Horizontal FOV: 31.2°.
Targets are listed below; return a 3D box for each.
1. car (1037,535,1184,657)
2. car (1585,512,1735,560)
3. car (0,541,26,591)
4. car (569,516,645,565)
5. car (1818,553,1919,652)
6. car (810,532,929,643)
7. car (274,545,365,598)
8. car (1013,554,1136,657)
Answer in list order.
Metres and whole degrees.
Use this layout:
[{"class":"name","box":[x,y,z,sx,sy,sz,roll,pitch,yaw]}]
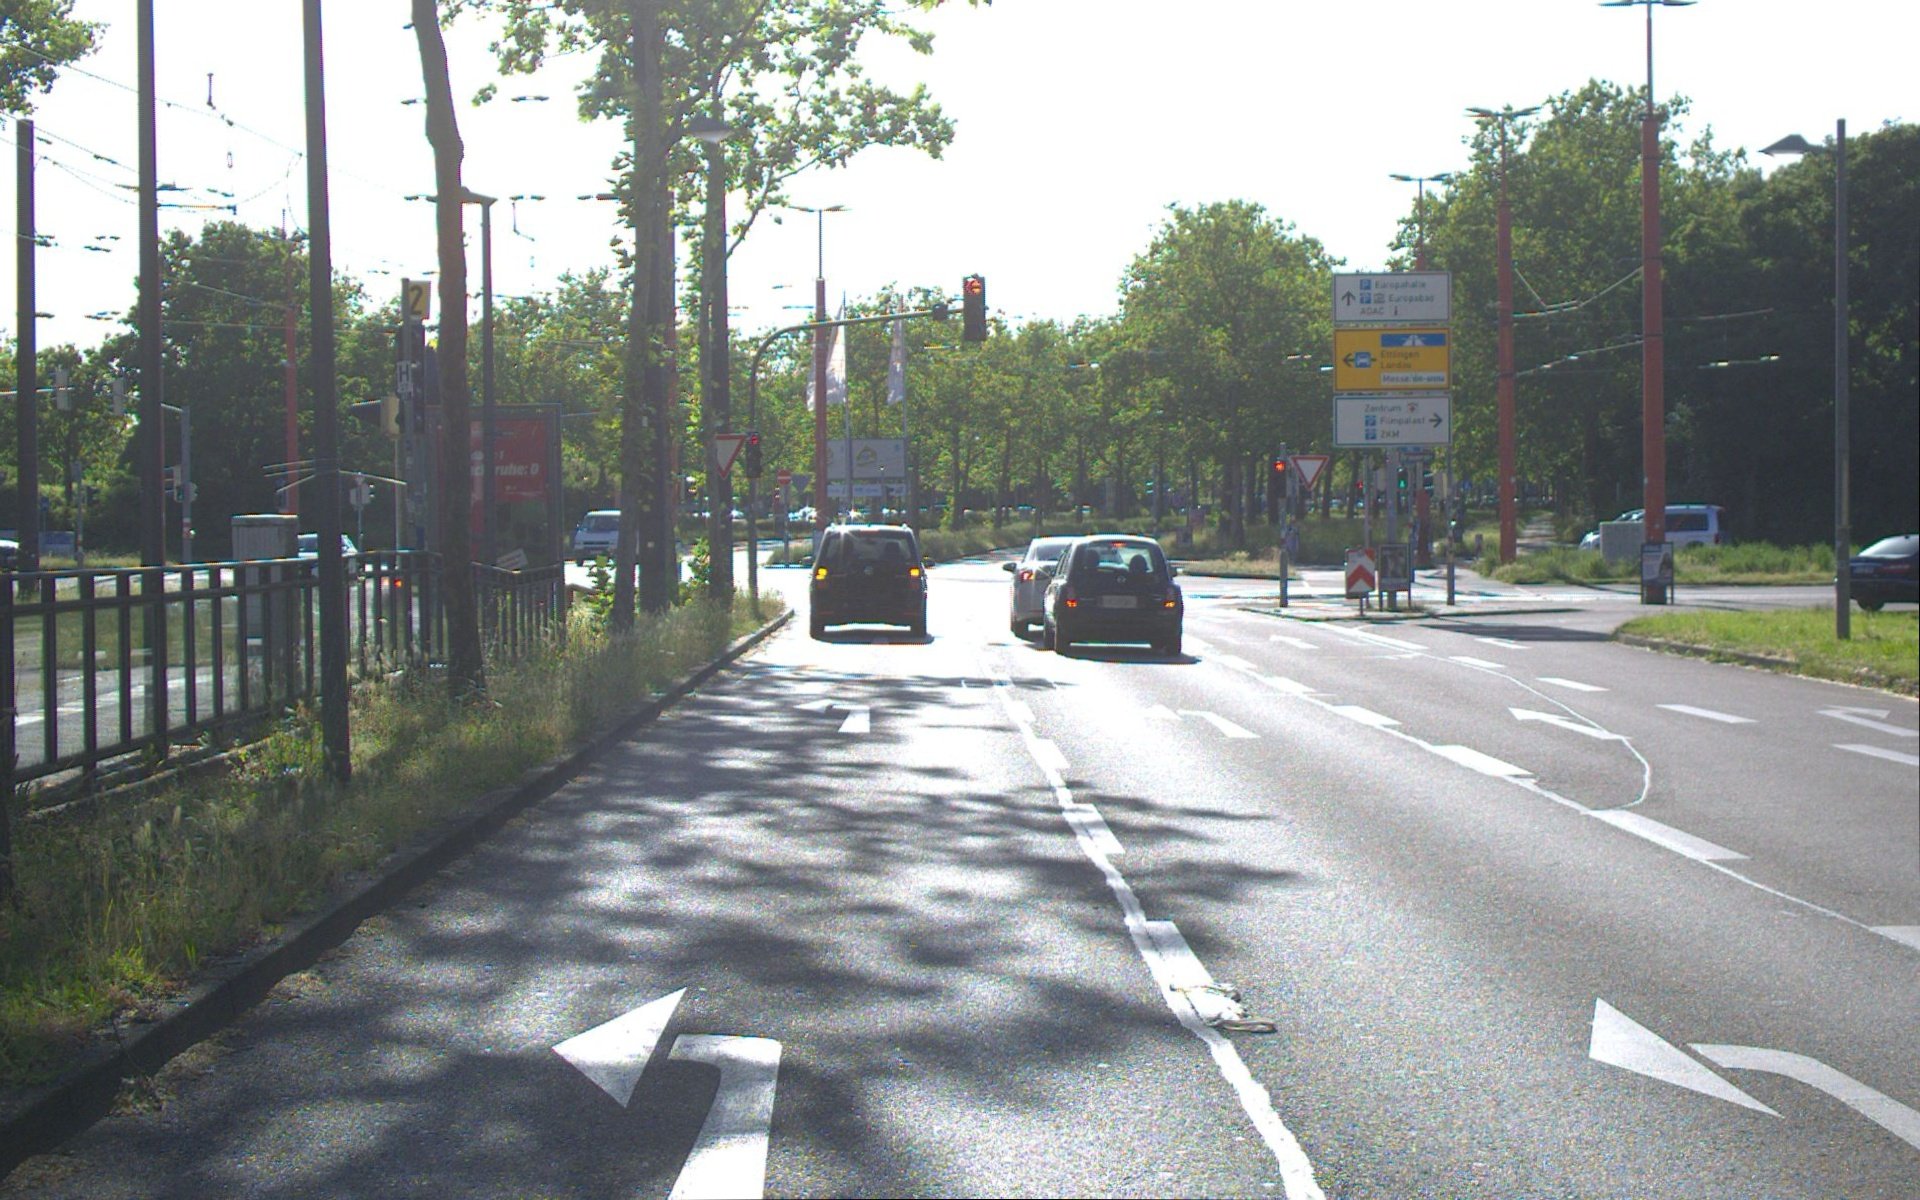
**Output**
[{"class":"car","box":[1.951,-0.083,45.362,1.638,1.489,3.504,1,2,-2]},{"class":"car","box":[20.568,-1.880,101.020,3.992,1.333,1.727,1,1,25]},{"class":"car","box":[-32.805,-1.094,112.355,3.990,1.615,1.898,0,1,18]},{"class":"car","box":[-13.307,-2.244,129.720,1.823,1.774,4.566,1,1,8]},{"class":"car","box":[18.816,0.076,65.720,4.599,1.786,1.988,1,1,-32]},{"class":"car","box":[-1.367,-0.201,51.291,1.710,1.598,3.350,0,1,-2]},{"class":"car","box":[-17.861,-0.803,95.933,1.631,1.444,3.718,1,1,3]},{"class":"car","box":[1.689,0.057,51.781,1.678,1.470,4.131,1,1,0]}]
